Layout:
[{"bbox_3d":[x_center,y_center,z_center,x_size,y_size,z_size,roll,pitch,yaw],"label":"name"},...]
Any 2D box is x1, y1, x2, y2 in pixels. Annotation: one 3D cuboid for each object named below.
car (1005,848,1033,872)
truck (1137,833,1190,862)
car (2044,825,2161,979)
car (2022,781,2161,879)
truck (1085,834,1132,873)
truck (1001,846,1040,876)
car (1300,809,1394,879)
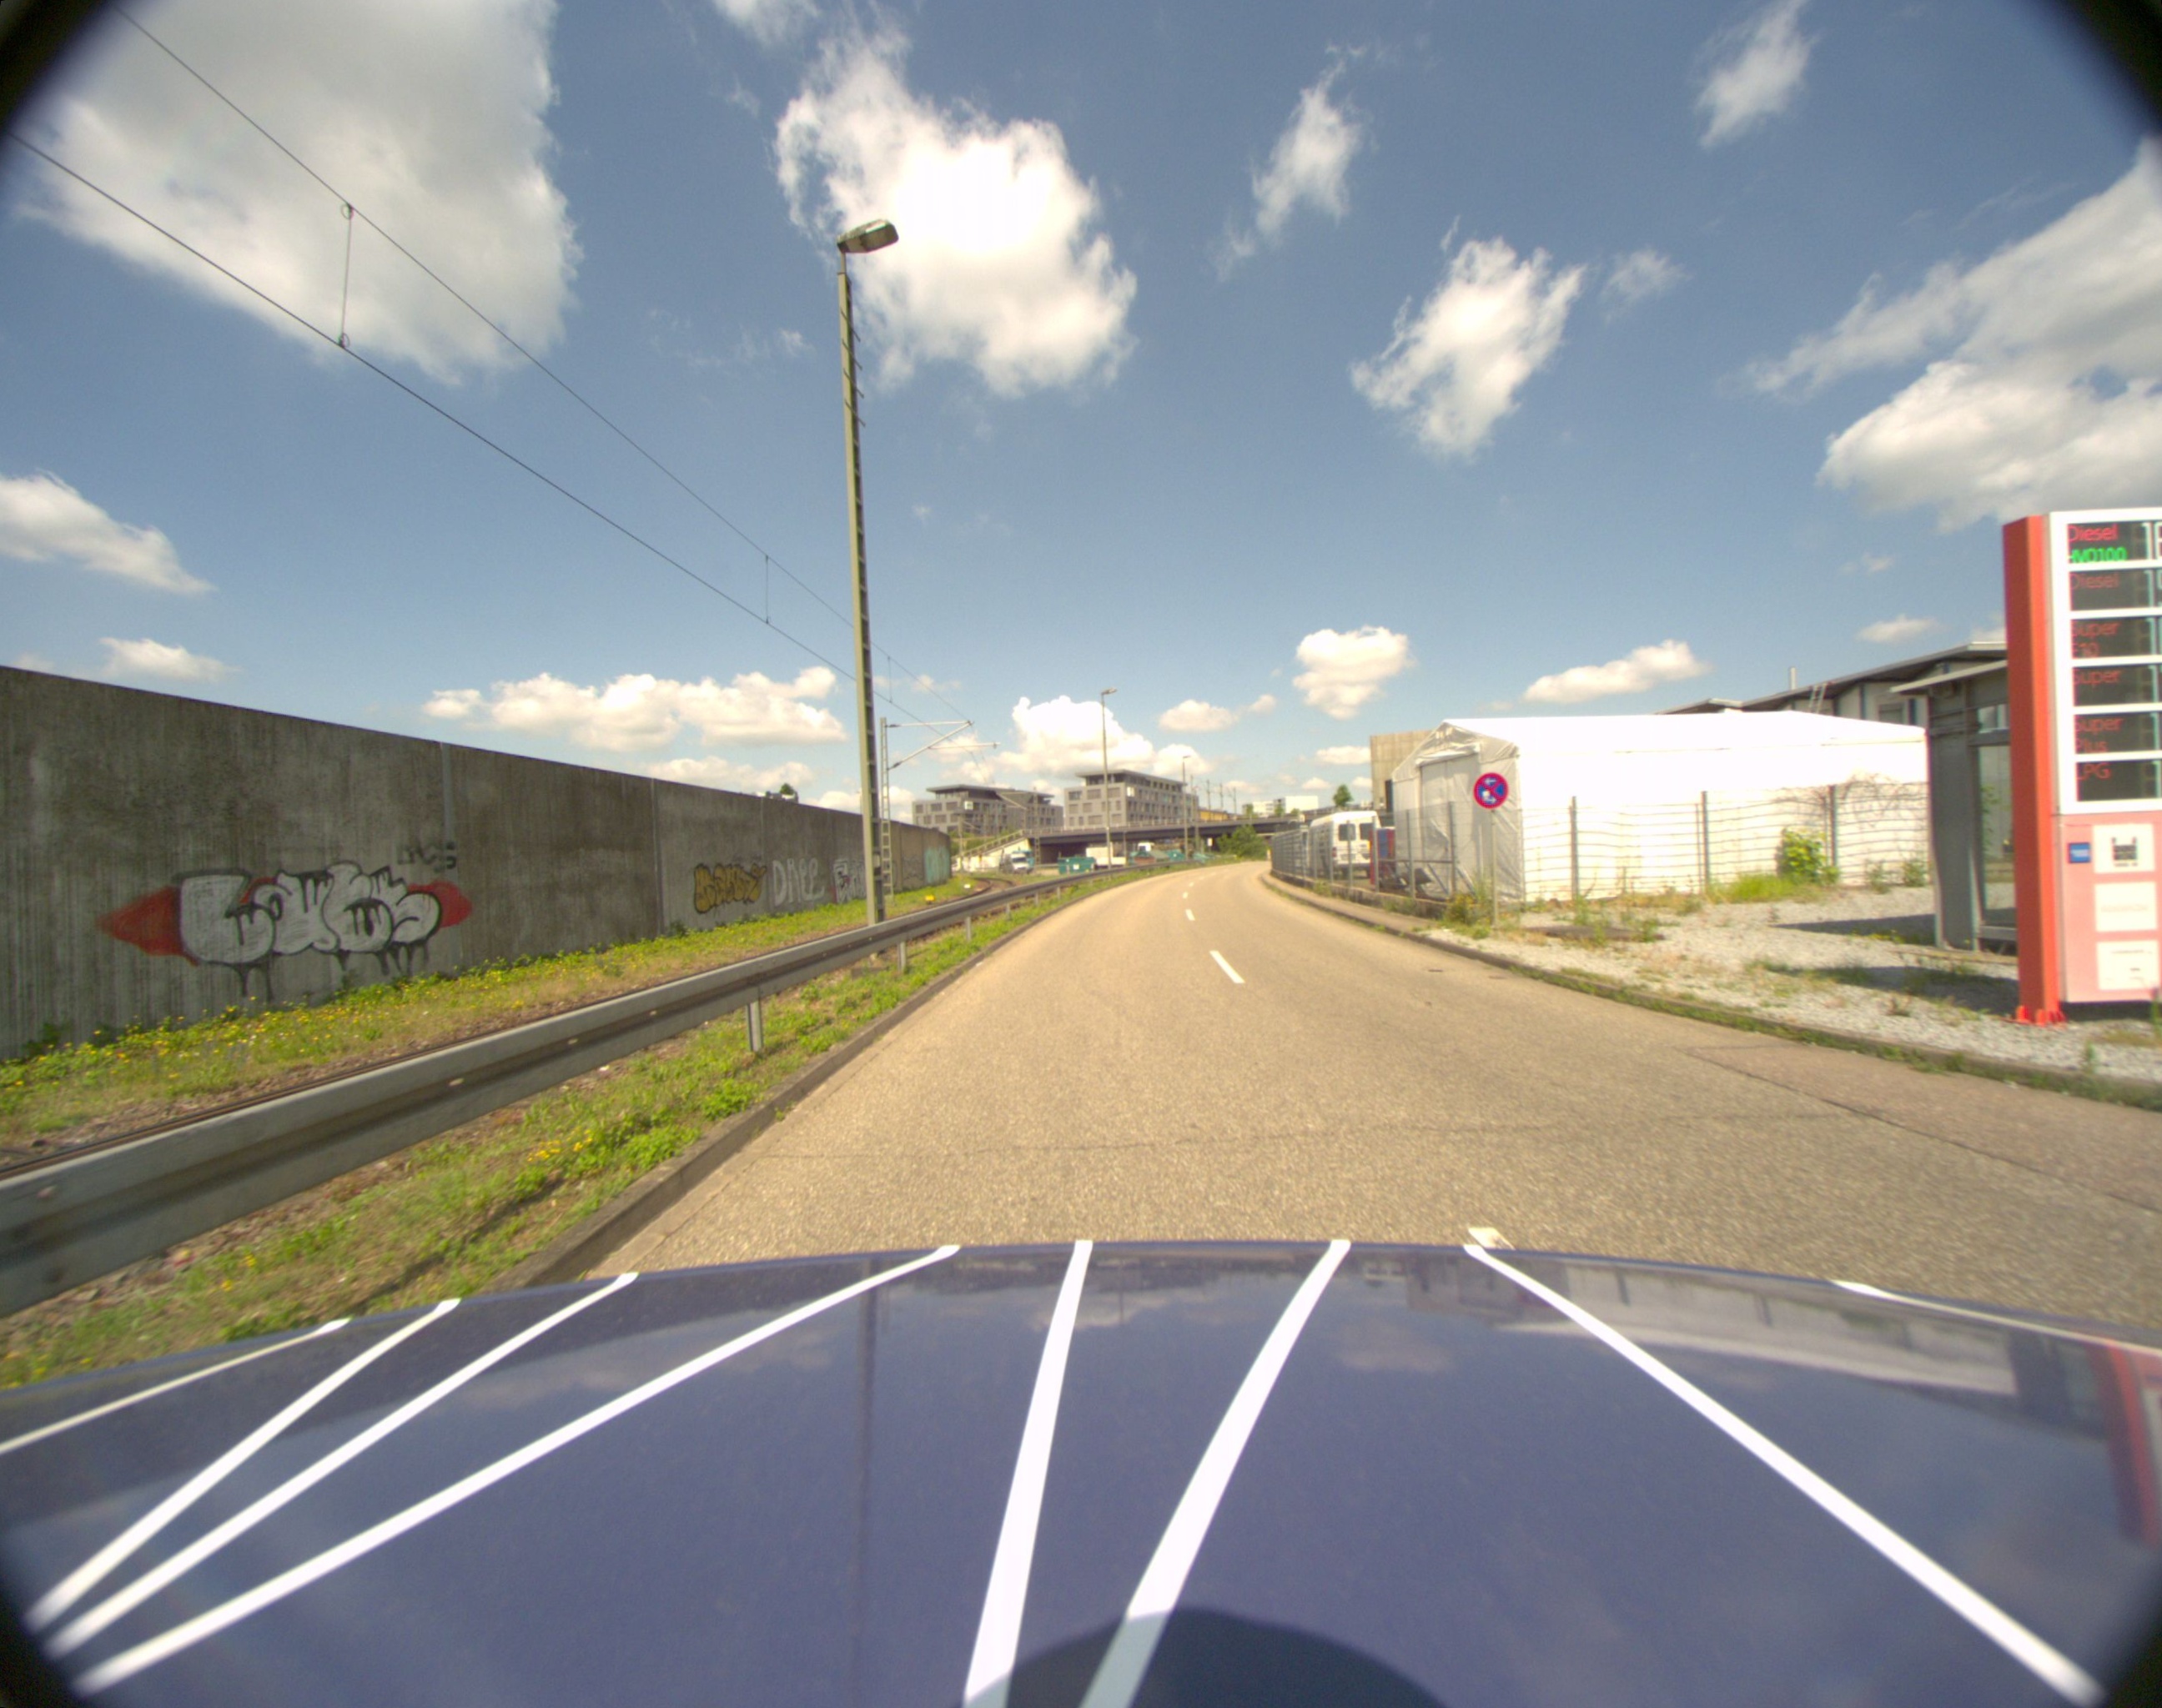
[{"bbox_3d":[-7.208,0.661,87.937,2.067,2.512,5.874,-4,1,-14],"label":"car"},{"bbox_3d":[9.327,-0.701,86.141,5.500,3.080,2.003,-2,1,26],"label":"truck"},{"bbox_3d":[11.117,0.422,5.507,1.923,1.369,4.787,-3,1,-9],"label":"car"},{"bbox_3d":[24.672,-0.593,16.760,5.698,2.002,1.999,-2,1,-4],"label":"car"},{"bbox_3d":[2.509,-0.090,72.182,2.995,3.400,8.107,-2,1,-8],"label":"truck"},{"bbox_3d":[-8.024,0.896,99.384,2.658,3.625,6.874,-5,2,-24],"label":"truck"},{"bbox_3d":[10.850,-0.393,31.577,2.123,2.522,6.720,-2,0,6],"label":"car"}]
